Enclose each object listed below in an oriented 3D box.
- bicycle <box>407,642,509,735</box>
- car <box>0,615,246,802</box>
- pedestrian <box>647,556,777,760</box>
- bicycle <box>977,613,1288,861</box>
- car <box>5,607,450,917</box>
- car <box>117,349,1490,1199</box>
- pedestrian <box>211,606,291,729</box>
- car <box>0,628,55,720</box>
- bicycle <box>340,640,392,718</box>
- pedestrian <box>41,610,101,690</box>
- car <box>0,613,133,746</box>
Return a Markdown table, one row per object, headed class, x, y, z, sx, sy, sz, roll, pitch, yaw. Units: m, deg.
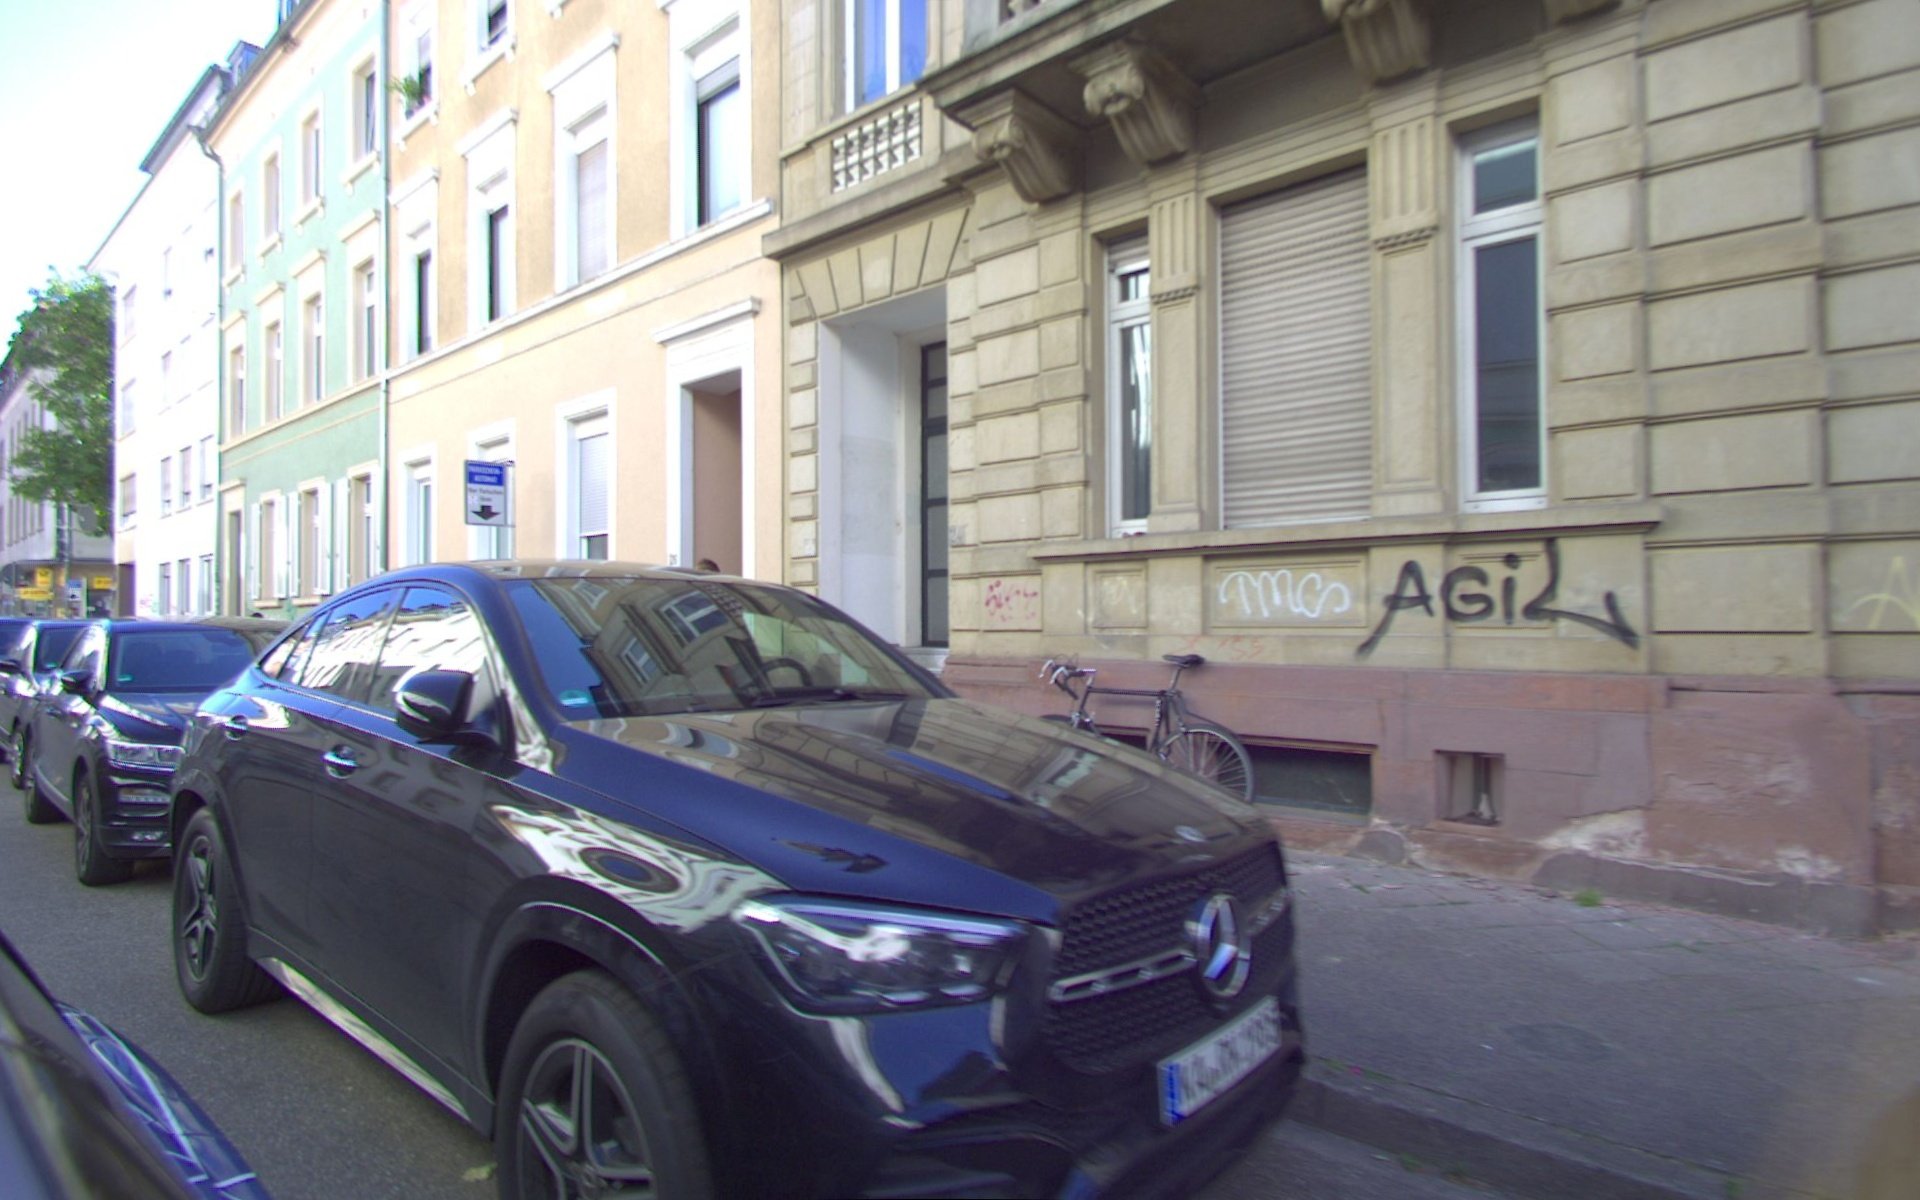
| class | x | y | z | sx | sy | sz | roll | pitch | yaw |
| --- | --- | --- | --- | --- | --- | --- | --- | --- | --- |
| bicycle | -6.359 | 1.082 | 12.788 | 1.834 | 1.064 | 0.398 | -1 | -1 | 38 |
| car | -8.890 | 0.963 | 10.390 | 3.975 | 1.565 | 1.599 | -2 | -2 | 40 |
| pedestrian | -2.400 | 0.538 | 9.811 | 0.882 | 1.850 | 0.857 | -1 | -1 | 38 |
| bicycle | 0.966 | 0.721 | 6.067 | 1.867 | 1.286 | 0.505 | -1 | -1 | 43 |
| car | -5.373 | 0.873 | 7.174 | 4.366 | 1.543 | 1.695 | -2 | -3 | 43 |
| car | -1.199 | 0.654 | 3.573 | 5.139 | 1.749 | 1.916 | -1 | -2 | 41 |
| pedestrian | -10.505 | 0.968 | 14.999 | 0.882 | 1.727 | 0.757 | -1 | 0 | 40 |
| car | -17.707 | 1.239 | 17.997 | 4.849 | 1.500 | 1.696 | -1 | -4 | 40 |
| bicycle | -8.839 | 1.140 | 15.038 | 0.356 | 1.036 | 1.920 | 1 | -1 | -39 |
| pedestrian | -21.338 | 1.173 | 24.289 | 1.245 | 1.846 | 0.901 | -1 | -1 | 41 |
| car | -13.214 | 1.045 | 14.245 | 4.601 | 1.627 | 1.725 | -2 | -3 | 42 |
